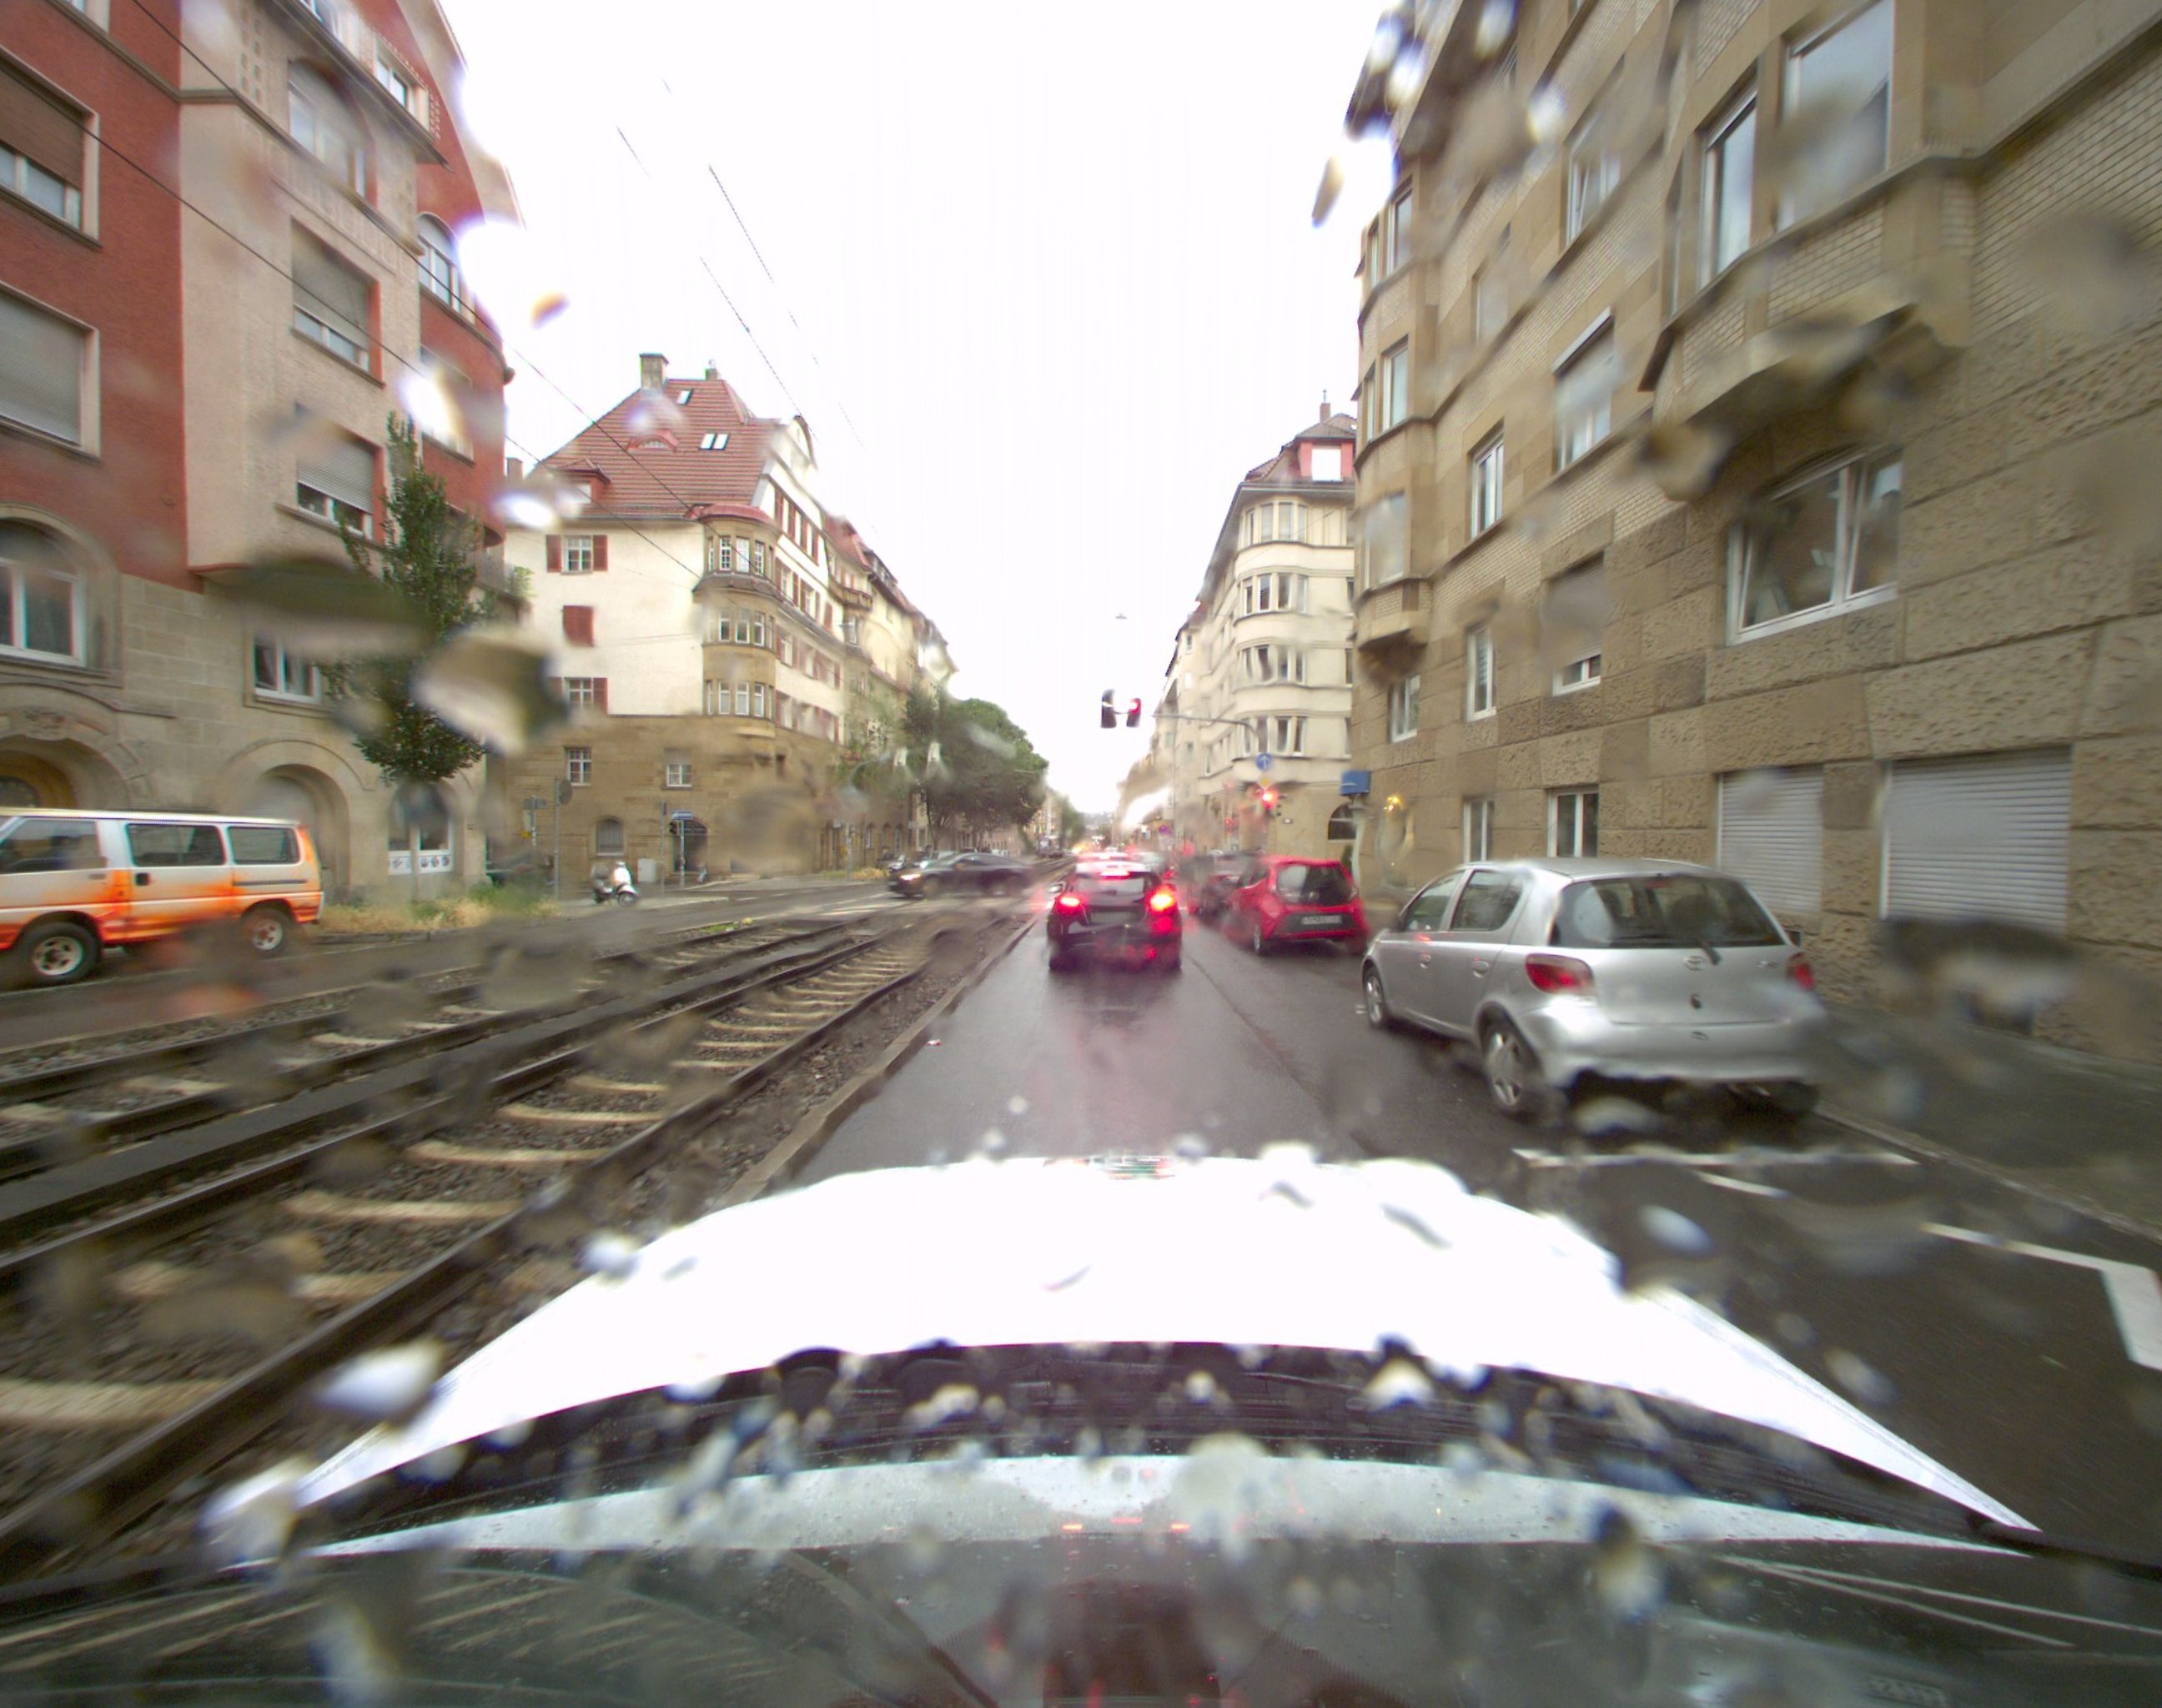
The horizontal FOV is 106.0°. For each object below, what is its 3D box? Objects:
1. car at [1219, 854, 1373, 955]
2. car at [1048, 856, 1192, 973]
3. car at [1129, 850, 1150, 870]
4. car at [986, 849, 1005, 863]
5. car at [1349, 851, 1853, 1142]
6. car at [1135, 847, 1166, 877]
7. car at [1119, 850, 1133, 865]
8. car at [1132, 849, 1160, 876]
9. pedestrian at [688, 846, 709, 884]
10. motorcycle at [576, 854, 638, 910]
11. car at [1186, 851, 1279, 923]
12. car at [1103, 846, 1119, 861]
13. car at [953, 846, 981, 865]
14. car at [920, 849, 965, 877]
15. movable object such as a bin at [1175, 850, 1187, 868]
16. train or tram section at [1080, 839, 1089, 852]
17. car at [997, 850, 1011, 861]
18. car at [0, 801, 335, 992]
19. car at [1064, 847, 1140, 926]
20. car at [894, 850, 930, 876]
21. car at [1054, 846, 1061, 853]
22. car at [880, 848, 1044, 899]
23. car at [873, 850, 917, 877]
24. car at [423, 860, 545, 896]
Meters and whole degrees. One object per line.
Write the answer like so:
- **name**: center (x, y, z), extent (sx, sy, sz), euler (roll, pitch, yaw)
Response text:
- **car**: center (3.367, 0.724, 13.332), extent (1.637, 1.448, 3.298), euler (0, 0, -1)
- **car**: center (0.555, 0.771, 12.334), extent (1.822, 1.458, 4.105), euler (0, 0, 2)
- **car**: center (4.573, 0.463, 64.350), extent (1.539, 1.486, 3.549), euler (0, 0, 2)
- **car**: center (-9.672, 0.205, 92.383), extent (1.583, 1.581, 3.920), euler (0, -1, 2)
- **car**: center (3.227, 0.739, 5.867), extent (1.608, 1.467, 3.314), euler (-2, 0, 3)
- **car**: center (3.834, 0.437, 45.468), extent (1.539, 1.590, 3.549), euler (0, 0, 2)
- **car**: center (4.199, 0.325, 76.441), extent (1.289, 1.442, 2.930), euler (0, 0, 2)
- **car**: center (3.981, 0.476, 49.943), extent (1.539, 1.590, 3.549), euler (0, 0, 2)
- **pedestrian**: center (-17.083, 0.487, 36.390), extent (0.700, 1.672, 0.631), euler (0, -1, -8)
- **motorcycle**: center (-11.967, 0.686, 20.554), extent (1.577, 1.365, 0.628), euler (-1, -1, 28)
- **car**: center (3.340, 0.673, 18.577), extent (1.539, 1.486, 3.831), euler (0, 0, 2)
- **car**: center (3.748, -0.071, 101.794), extent (1.986, 1.876, 4.001), euler (0, -1, 2)
- **car**: center (-10.425, 0.131, 74.926), extent (1.868, 1.737, 3.920), euler (0, -1, 2)
- **car**: center (-8.134, 0.527, 48.214), extent (1.891, 1.588, 3.974), euler (0, -1, 2)
- **movable object such as a bin**: center (7.628, 0.361, 62.319), extent (0.873, 1.389, 0.984), euler (0, -1, 5)
- **train or tram section**: center (1.152, -2.733, 258.736), extent (2.772, 3.861, 10.434), euler (0, -1, 2)
- **car**: center (-9.590, 0.182, 101.799), extent (1.443, 1.331, 3.271), euler (0, -1, 0)
- **car**: center (-12.036, 0.455, 9.997), extent (1.725, 1.975, 4.342), euler (0, -1, 0)
- **car**: center (0.490, 0.683, 18.730), extent (1.559, 1.609, 3.815), euler (0, -1, 2)
- **car**: center (-11.142, 0.585, 53.939), extent (1.713, 1.611, 3.914), euler (0, -1, -3)
- **car**: center (-4.864, -0.913, 167.686), extent (1.372, 1.249, 3.297), euler (0, -1, 0)
- **car**: center (-3.762, 0.574, 26.302), extent (4.986, 1.523, 1.789), euler (0, 0, -37)
- **car**: center (-11.118, 0.584, 48.904), extent (1.747, 1.552, 4.033), euler (0, -1, -2)
- **car**: center (-24.267, 0.967, 33.213), extent (3.632, 1.404, 1.699), euler (0, -1, -3)
